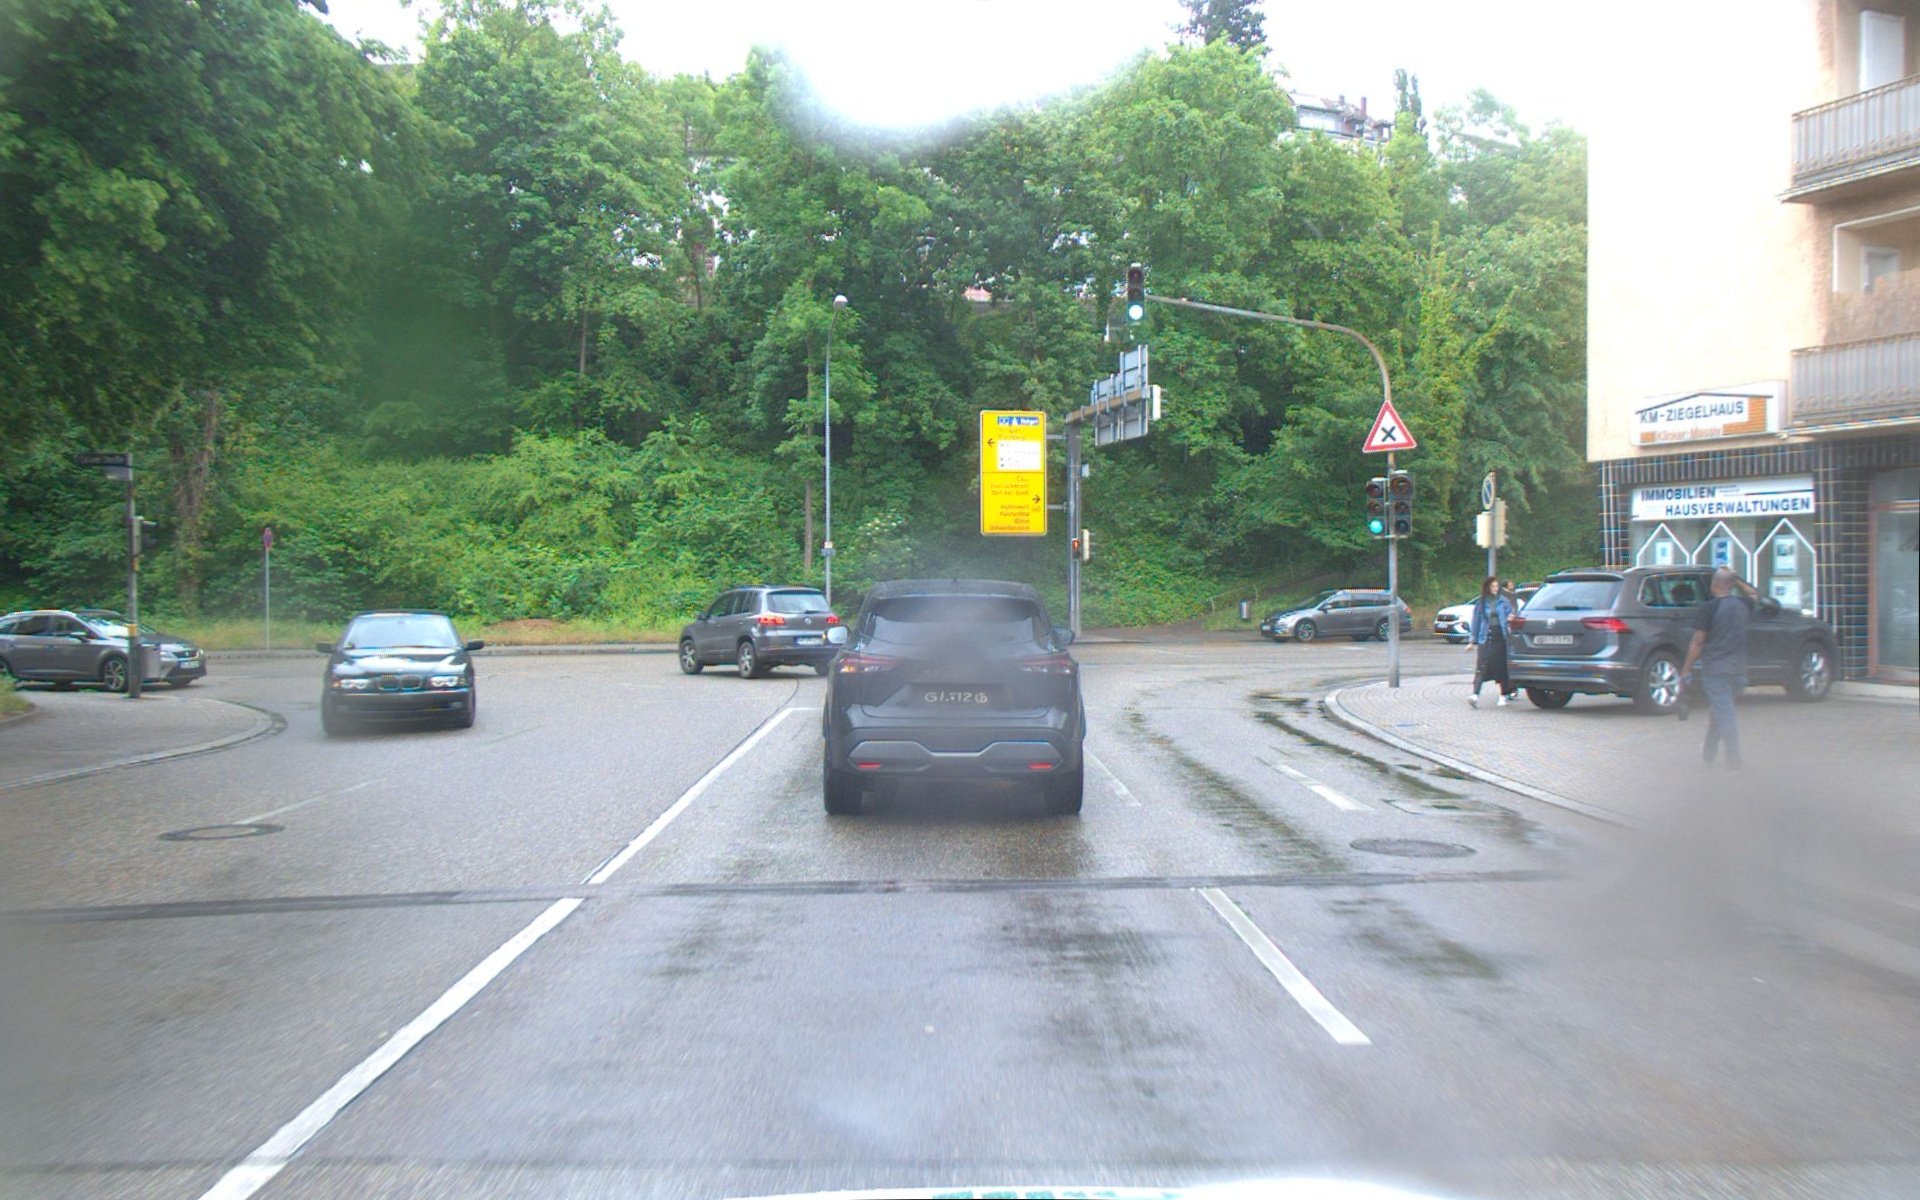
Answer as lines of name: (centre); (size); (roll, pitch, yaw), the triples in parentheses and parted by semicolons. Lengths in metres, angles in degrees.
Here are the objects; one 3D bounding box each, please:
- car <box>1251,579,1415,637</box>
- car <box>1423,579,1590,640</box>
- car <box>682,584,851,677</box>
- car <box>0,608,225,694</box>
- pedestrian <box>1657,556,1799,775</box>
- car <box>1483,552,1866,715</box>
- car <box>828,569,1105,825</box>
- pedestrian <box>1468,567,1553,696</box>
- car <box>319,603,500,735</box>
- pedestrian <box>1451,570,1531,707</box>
car: (10.805, 0.219, 48.039); (4.249, 1.528, 1.877); (-2, 0, -13)
car: (14.989, 0.245, 45.438); (4.074, 1.589, 1.802); (-1, 0, -16)
car: (-3.706, 0.538, 31.176); (1.791, 1.631, 3.960); (1, 0, -29)
car: (-16.053, 0.935, 30.690); (4.103, 1.475, 1.818); (-1, 1, 13)
pedestrian: (6.256, 0.510, 13.510); (0.745, 1.706, 0.781); (-2, 1, -1)
car: (8.518, 0.338, 19.662); (4.315, 1.678, 1.867); (-2, 1, -27)
car: (0.000, 0.603, 12.607); (1.774, 1.631, 3.999); (0, 0, -1)
pedestrian: (7.123, 0.402, 21.407); (0.750, 1.602, 0.776); (-1, 2, 43)
car: (-7.006, 0.809, 21.430); (1.698, 1.485, 4.415); (-1, 0, -12)
pedestrian: (6.504, 0.459, 20.284); (0.644, 1.628, 0.795); (-2, 0, -4)
